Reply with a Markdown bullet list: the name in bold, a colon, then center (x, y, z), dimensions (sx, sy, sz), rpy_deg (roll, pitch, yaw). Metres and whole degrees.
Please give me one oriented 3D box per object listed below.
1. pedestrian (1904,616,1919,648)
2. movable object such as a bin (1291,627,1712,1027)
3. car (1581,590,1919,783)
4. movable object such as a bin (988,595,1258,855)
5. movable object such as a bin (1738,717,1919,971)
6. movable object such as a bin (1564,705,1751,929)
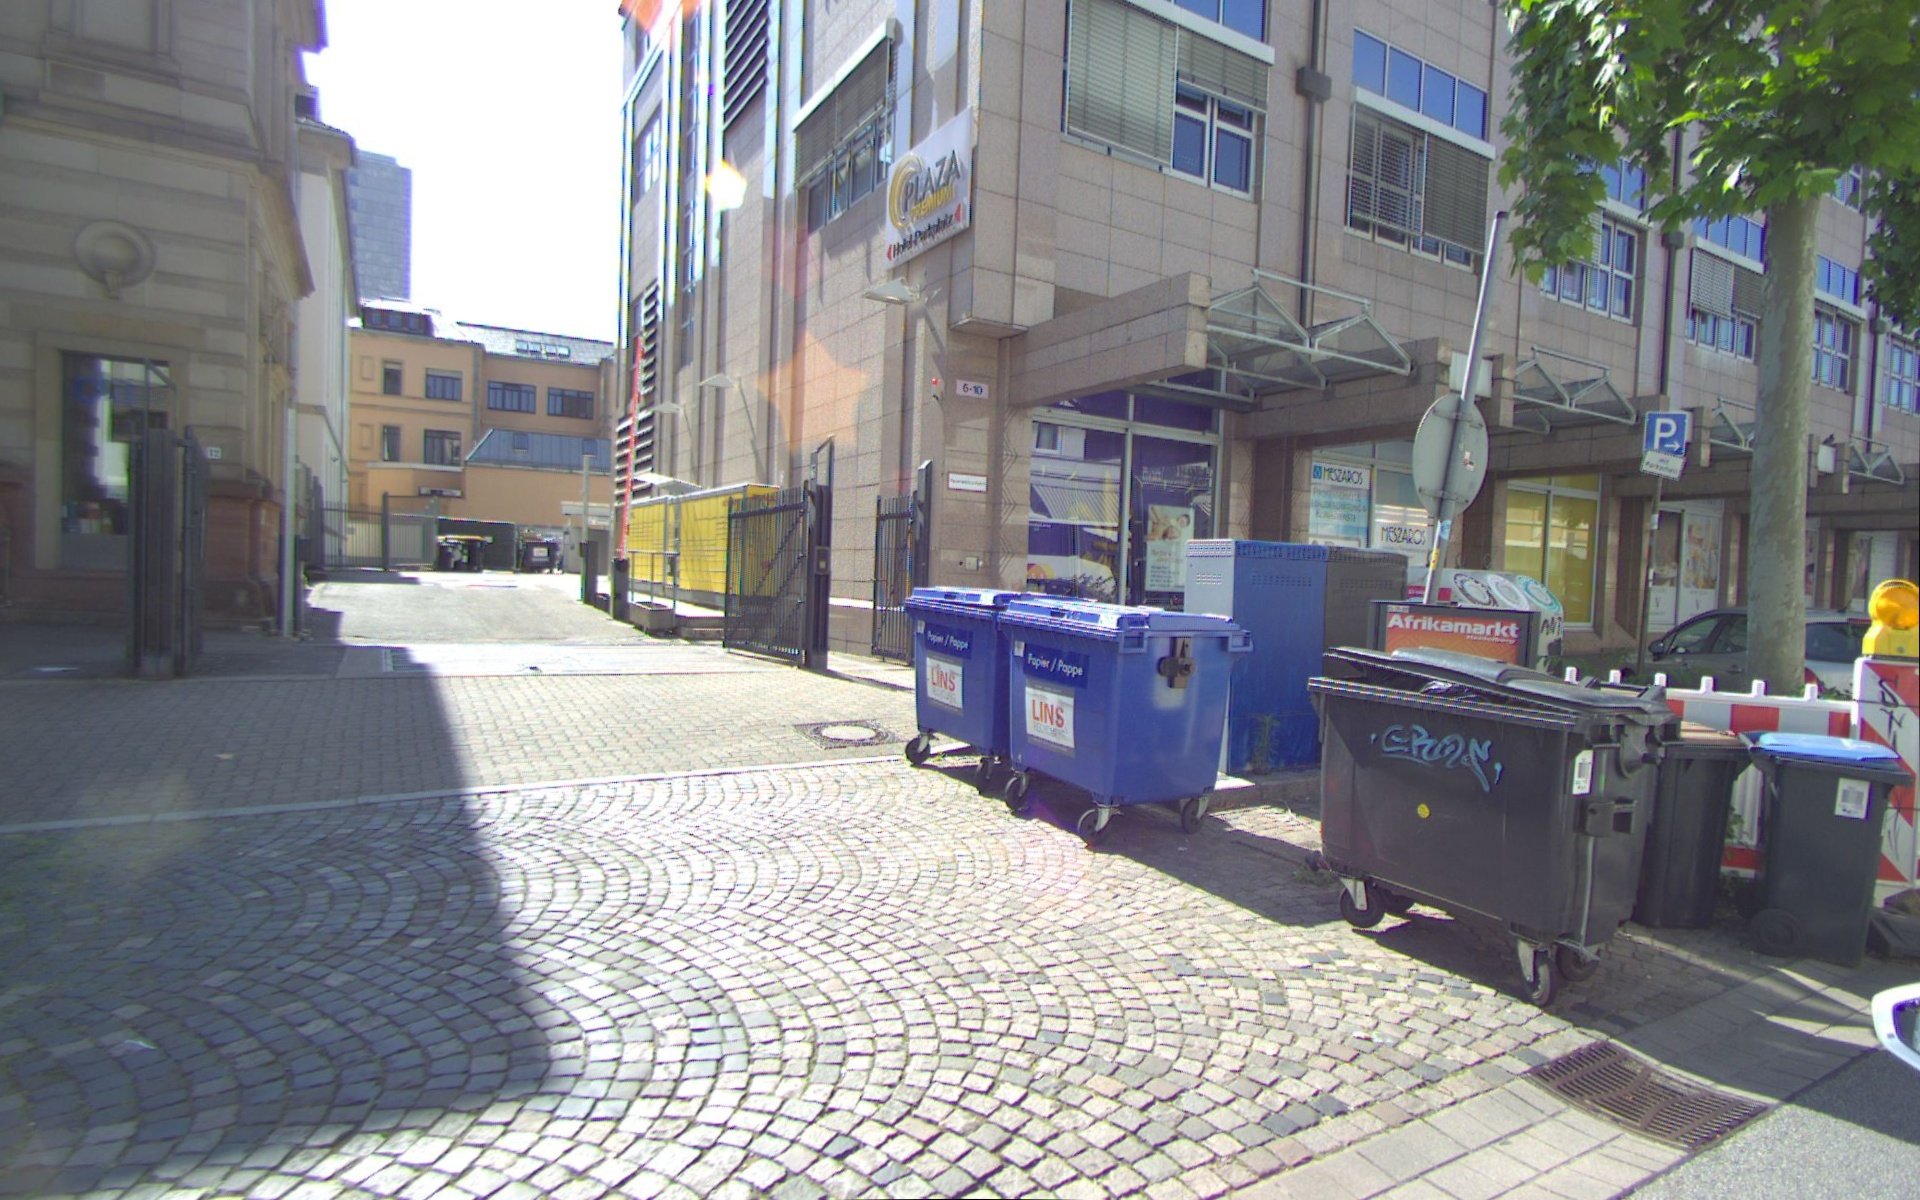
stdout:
- **pedestrian**: center (26.164, 0.892, 27.219), dimensions (0.765, 0.820, 0.563), rpy_deg (1, 7, -31)
- **movable object such as a bin**: center (2.220, 0.815, 4.258), dimensions (0.843, 1.317, 1.271), rpy_deg (1, 2, -30)
- **car**: center (8.469, 0.730, 10.551), dimensions (1.896, 1.515, 4.059), rpy_deg (2, 2, 10)
- **movable object such as a bin**: center (0.957, 0.664, 6.127), dimensions (1.067, 1.317, 1.202), rpy_deg (0, 4, -30)
- **movable object such as a bin**: center (3.839, 1.042, 4.469), dimensions (0.546, 0.952, 0.499), rpy_deg (1, 1, 34)
- **movable object such as a bin**: center (3.346, 1.011, 4.841), dimensions (0.546, 0.952, 0.499), rpy_deg (0, 1, -14)
